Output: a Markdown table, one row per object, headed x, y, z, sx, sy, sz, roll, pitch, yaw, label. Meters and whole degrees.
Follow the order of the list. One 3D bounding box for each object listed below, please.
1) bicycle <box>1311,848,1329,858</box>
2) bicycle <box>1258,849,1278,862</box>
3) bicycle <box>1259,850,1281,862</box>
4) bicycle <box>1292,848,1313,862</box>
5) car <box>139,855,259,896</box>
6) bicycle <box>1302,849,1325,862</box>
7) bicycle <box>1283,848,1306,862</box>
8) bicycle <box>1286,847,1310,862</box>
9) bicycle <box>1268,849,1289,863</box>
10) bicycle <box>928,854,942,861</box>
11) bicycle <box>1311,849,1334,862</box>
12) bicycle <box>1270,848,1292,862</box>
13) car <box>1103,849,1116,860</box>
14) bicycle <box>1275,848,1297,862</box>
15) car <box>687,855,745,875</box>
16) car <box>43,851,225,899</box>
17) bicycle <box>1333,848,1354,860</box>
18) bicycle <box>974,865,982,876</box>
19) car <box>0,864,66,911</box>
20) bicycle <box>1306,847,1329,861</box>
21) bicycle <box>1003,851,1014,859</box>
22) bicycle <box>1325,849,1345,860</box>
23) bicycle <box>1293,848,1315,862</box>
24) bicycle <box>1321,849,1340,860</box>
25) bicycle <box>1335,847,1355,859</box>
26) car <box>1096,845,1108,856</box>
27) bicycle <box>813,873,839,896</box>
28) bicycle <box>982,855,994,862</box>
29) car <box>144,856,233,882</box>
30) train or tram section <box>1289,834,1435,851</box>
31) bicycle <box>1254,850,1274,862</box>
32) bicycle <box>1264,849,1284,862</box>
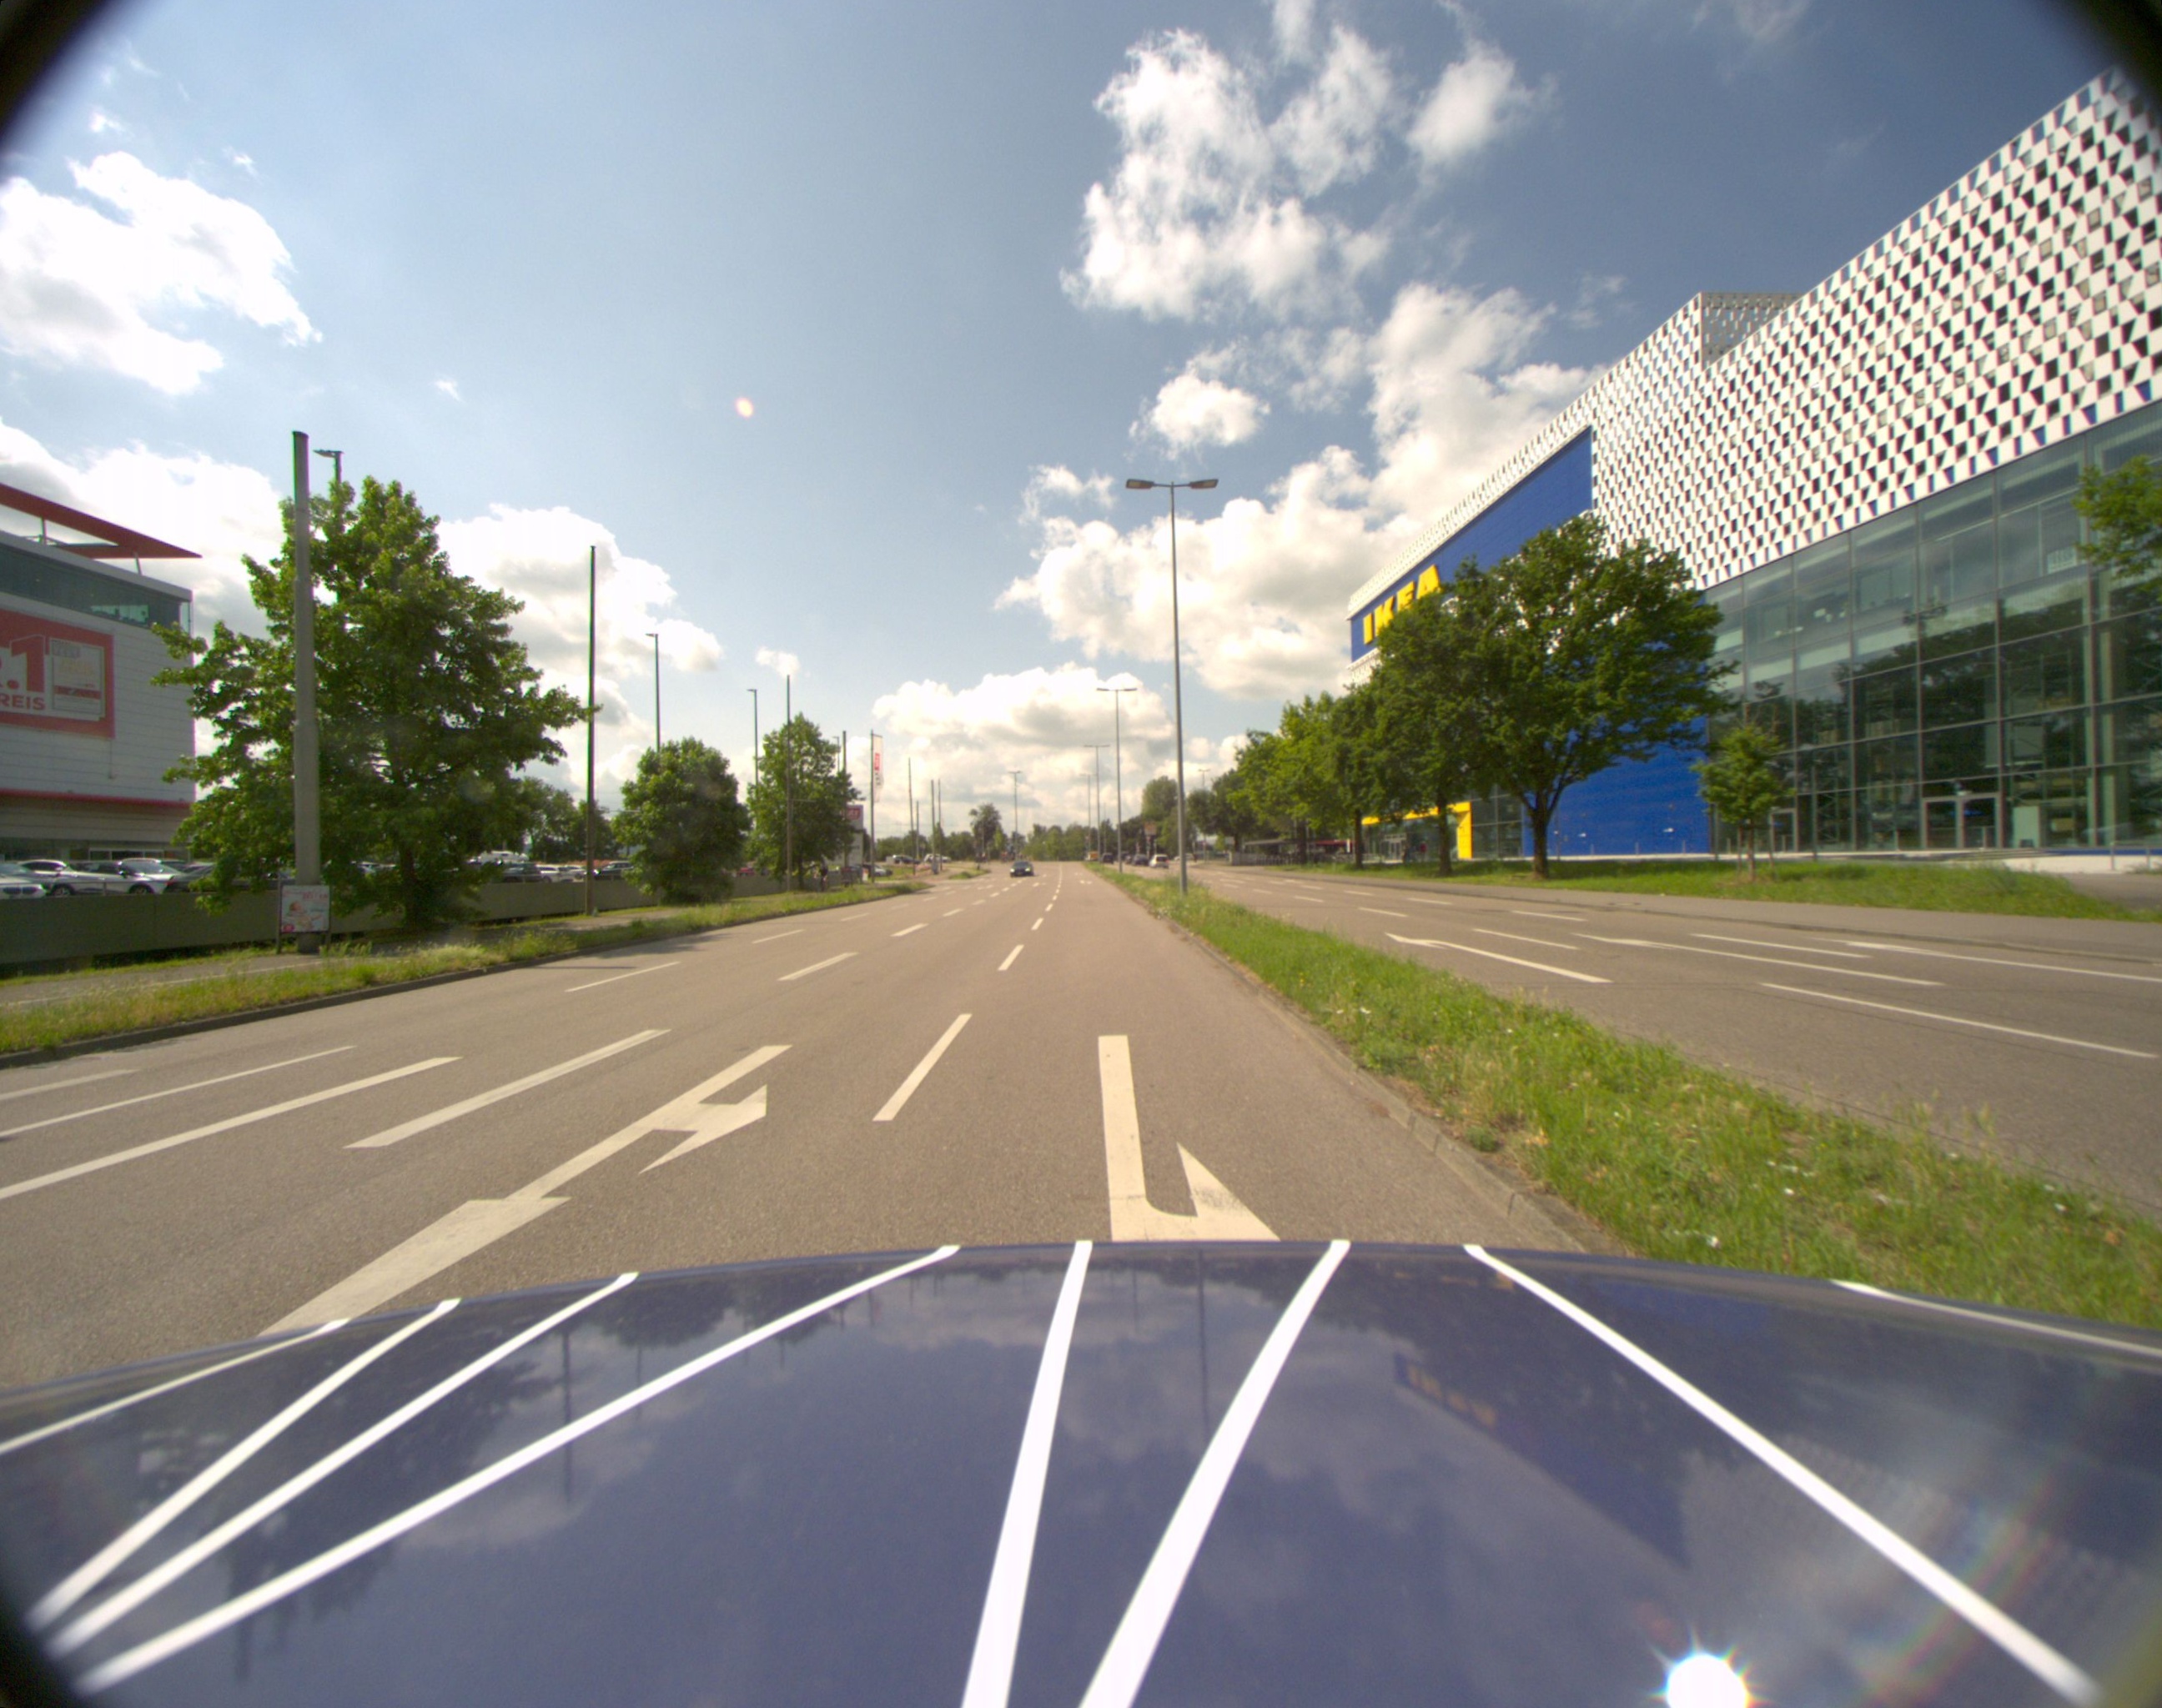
| x | y | z | sx | sy | sz | roll | pitch | yaw | label |
| --- | --- | --- | --- | --- | --- | --- | --- | --- | --- |
| 27.429 | -0.088 | 87.209 | 1.940 | 1.064 | 0.528 | -2 | 1 | -5 | bicycle |
| 19.838 | 0.154 | 80.778 | 1.930 | 1.265 | 0.629 | -2 | 0 | -1 | bicycle |
| 19.821 | 0.210 | 79.741 | 2.094 | 1.265 | 0.629 | -2 | 0 | -1 | bicycle |
| 22.192 | 0.114 | 76.174 | 1.930 | 1.265 | 0.629 | -2 | 0 | -1 | bicycle |
| -46.911 | 1.110 | 40.490 | 3.997 | 2.002 | 2.000 | -2 | 0 | -1 | car |
| 22.165 | 0.188 | 72.382 | 1.930 | 1.172 | 0.629 | -2 | 0 | -1 | bicycle |
| 20.028 | 0.097 | 71.229 | 1.930 | 1.176 | 0.629 | -2 | 0 | -1 | bicycle |
| 20.016 | 0.036 | 70.135 | 1.930 | 1.265 | 0.629 | -2 | 0 | -1 | bicycle |
| 20.048 | 0.202 | 77.195 | 1.930 | 1.265 | 0.629 | -2 | 0 | -1 | bicycle |
| -21.245 | 0.545 | 110.639 | 1.990 | 0.955 | 0.596 | -2 | 0 | -26 | bicycle |
| 22.348 | 0.147 | 70.326 | 1.930 | 1.177 | 0.629 | -2 | 0 | -1 | bicycle |
| 20.036 | 0.101 | 76.112 | 1.930 | 1.265 | 0.629 | -2 | 0 | -1 | bicycle |
| 4.016 | 0.066 | 106.721 | 1.608 | 1.485 | 4.131 | 0 | 1 | -2 | car |
| 19.862 | 0.101 | 73.645 | 1.930 | 1.265 | 0.629 | -2 | 0 | -1 | bicycle |
| -30.655 | 0.925 | 63.825 | 4.026 | 1.578 | 1.695 | -1 | -1 | -2 | car |
| -34.876 | 0.751 | 28.089 | 3.998 | 1.562 | 1.999 | -2 | 1 | -3 | car |
| 28.018 | -0.042 | 81.078 | 1.950 | 1.236 | 0.597 | -2 | 1 | -5 | bicycle |
| -9.597 | 1.508 | 71.028 | 0.518 | 0.947 | 1.543 | -2 | 1 | -1 | bicycle |
| -34.088 | 1.000 | 22.906 | 4.195 | 1.381 | 1.892 | 0 | 0 | -4 | car |
| 22.213 | 0.015 | 71.286 | 1.930 | 1.265 | 0.629 | -2 | 0 | -1 | bicycle |
| -11.248 | 0.174 | 117.722 | 1.507 | 1.158 | 0.619 | -3 | 1 | -41 | bicycle |
| 27.871 | 0.057 | 83.364 | 1.940 | 1.064 | 0.528 | -2 | 1 | -5 | bicycle |
| 22.072 | 0.126 | 75.162 | 1.930 | 1.265 | 0.629 | -2 | 0 | -1 | bicycle |
| 27.776 | 0.040 | 84.554 | 1.935 | 1.083 | 0.520 | -2 | 0 | -5 | bicycle |
| 28.427 | -0.141 | 81.842 | 1.940 | 1.202 | 0.528 | -2 | 1 | -5 | bicycle |
| 3.411 | -0.605 | 124.191 | 1.712 | 1.610 | 4.376 | 0 | 1 | -2 | car |
| -12.520 | 1.478 | 37.306 | 0.625 | 1.061 | 1.968 | -1 | 0 | 0 | bicycle |
| -14.078 | 0.660 | 115.412 | 1.699 | 0.955 | 0.664 | -2 | 0 | -39 | bicycle |
| -65.262 | 1.099 | 55.626 | 3.998 | 1.713 | 2.000 | -2 | 0 | -2 | car |
| 50.995 | -2.113 | 138.389 | 25.116 | 3.014 | 4.529 | 0 | 0 | -3 | train or tram section |
| 19.775 | 0.207 | 82.123 | 1.930 | 1.265 | 0.629 | -2 | 0 | -1 | bicycle |
| 19.932 | 0.194 | 78.483 | 1.930 | 1.265 | 0.629 | -2 | 0 | -1 | bicycle |
